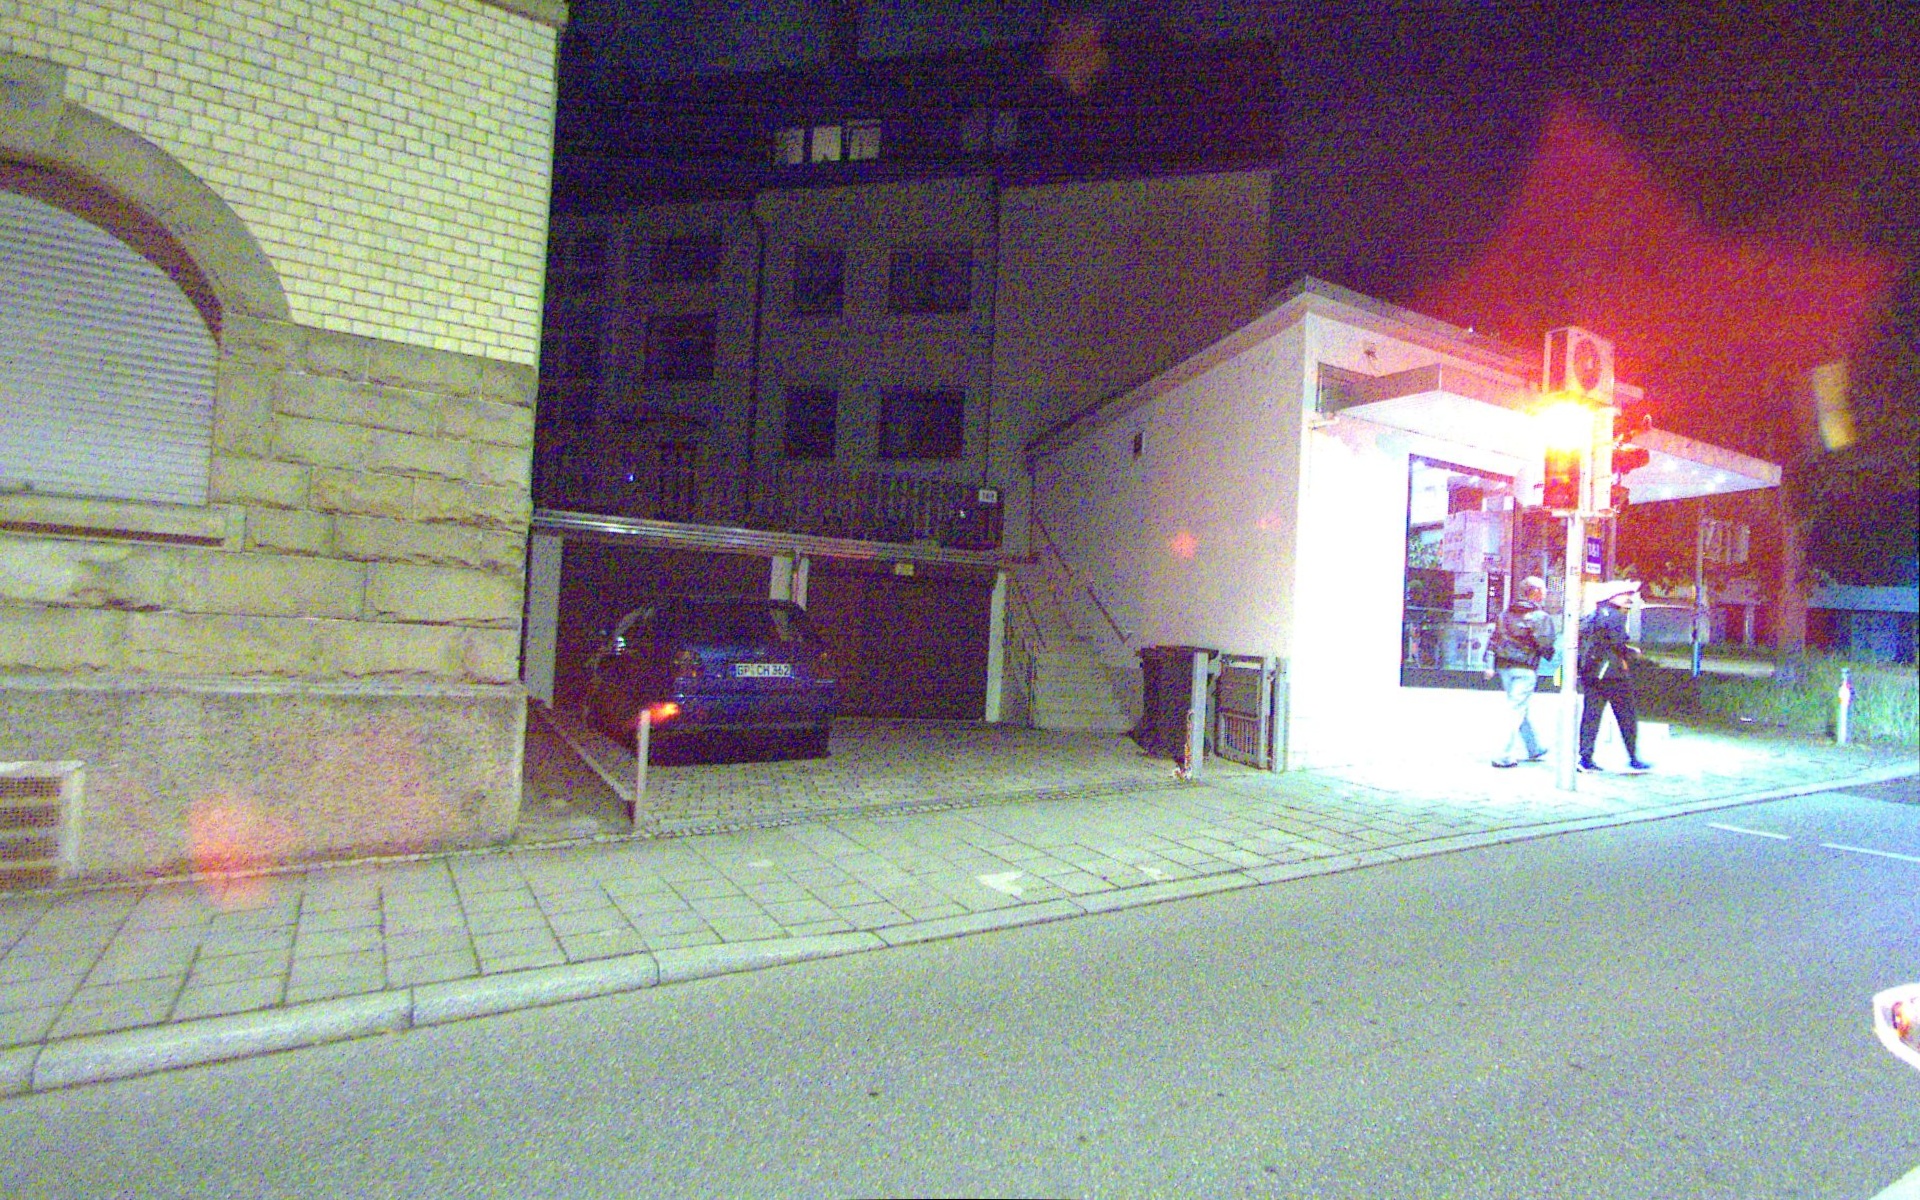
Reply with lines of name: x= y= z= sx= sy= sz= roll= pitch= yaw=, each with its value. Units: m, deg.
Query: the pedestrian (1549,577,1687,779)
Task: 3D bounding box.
pedestrian: x=6.129 y=0.699 z=9.358 sx=1.017 sy=1.768 sz=0.672 roll=2 pitch=0 yaw=-31

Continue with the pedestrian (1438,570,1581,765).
pedestrian: x=5.306 y=0.623 z=9.700 sx=1.091 sy=1.768 sz=0.738 roll=2 pitch=0 yaw=-31

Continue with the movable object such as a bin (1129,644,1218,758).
movable object such as a bin: x=2.119 y=0.994 z=10.032 sx=0.643 sy=1.063 sz=0.639 roll=2 pitch=0 yaw=-12

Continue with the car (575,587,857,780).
car: x=-2.450 y=0.647 z=9.502 sx=1.655 sy=1.470 sz=3.341 roll=2 pitch=-1 yaw=-31
